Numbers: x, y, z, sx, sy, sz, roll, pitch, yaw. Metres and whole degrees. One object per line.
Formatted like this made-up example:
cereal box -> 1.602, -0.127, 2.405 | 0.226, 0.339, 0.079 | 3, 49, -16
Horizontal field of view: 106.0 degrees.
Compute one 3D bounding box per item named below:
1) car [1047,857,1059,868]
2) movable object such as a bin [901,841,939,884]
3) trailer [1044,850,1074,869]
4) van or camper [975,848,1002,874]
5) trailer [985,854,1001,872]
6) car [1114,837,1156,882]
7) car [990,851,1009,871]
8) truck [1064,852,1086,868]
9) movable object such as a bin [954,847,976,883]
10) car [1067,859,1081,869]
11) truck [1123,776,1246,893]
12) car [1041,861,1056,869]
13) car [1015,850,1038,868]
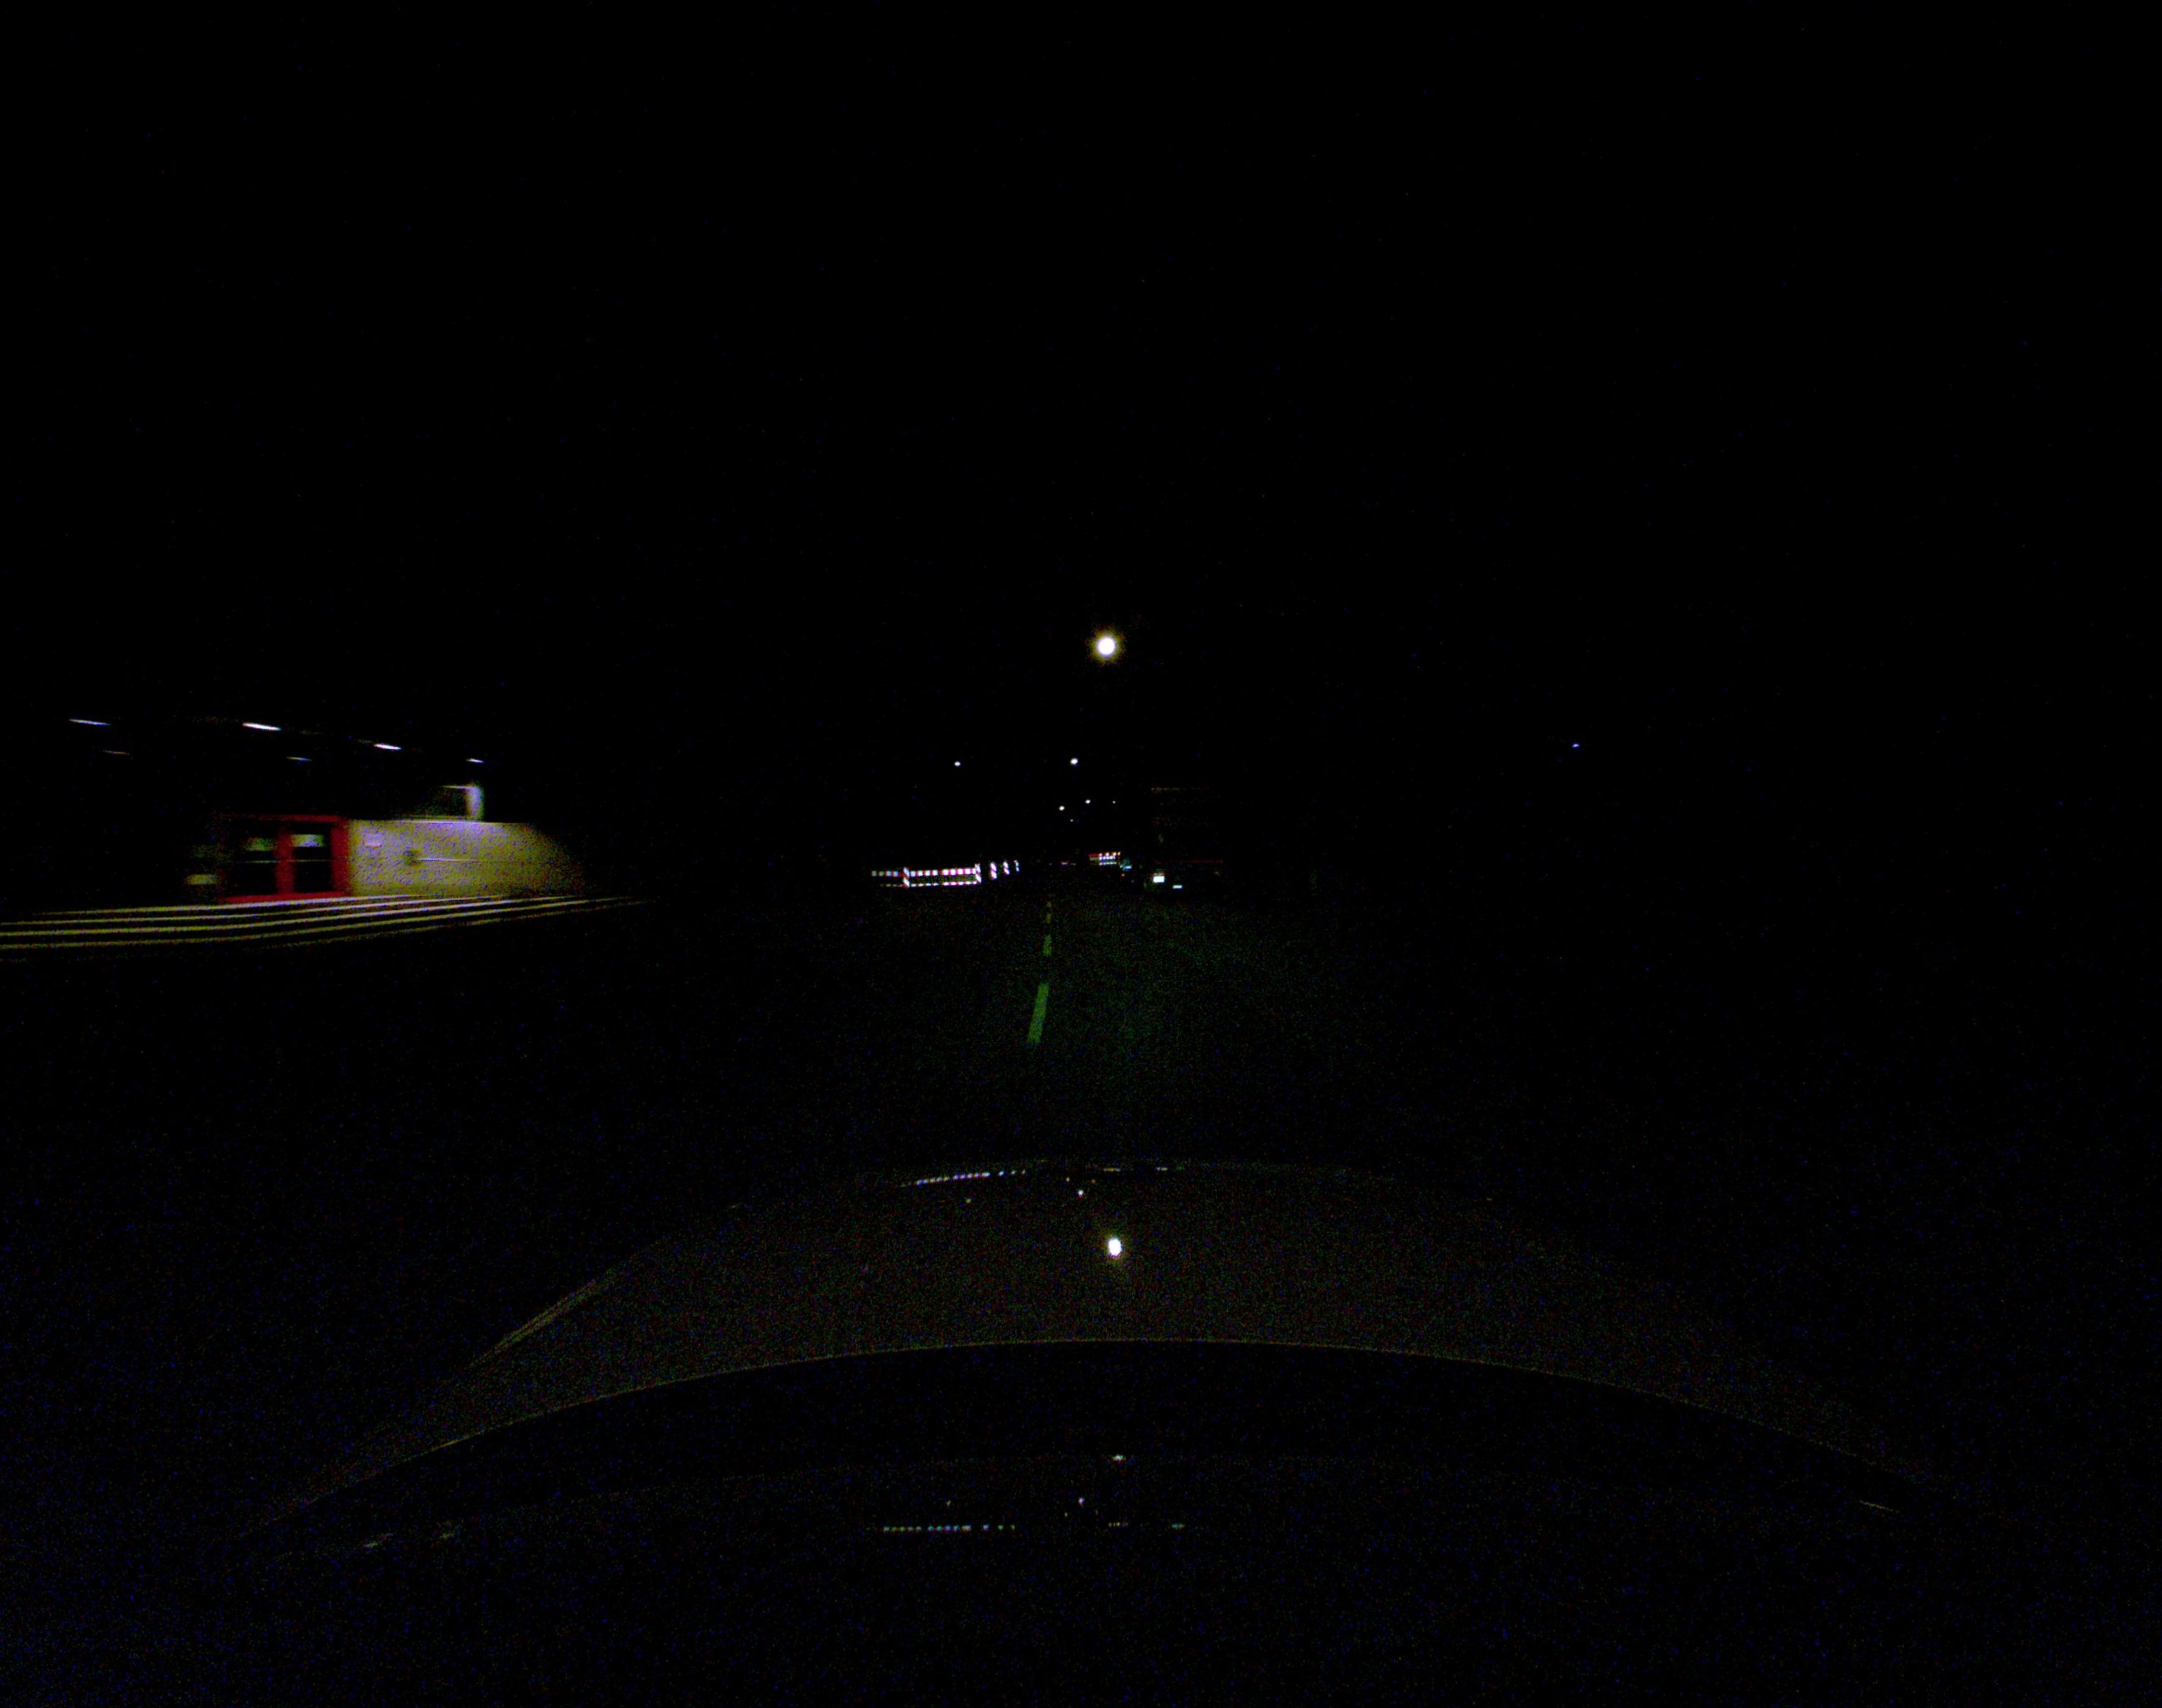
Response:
car -> -4.206, 1.287, 124.448 | 1.716, 1.661, 3.997 | -2, -1, -1
movable object such as a bin -> -9.849, 0.560, 49.706 | 1.555, 2.467, 2.818 | -4, 0, -23
trailer -> -2.999, 0.750, 109.565 | 1.569, 2.160, 5.171 | -4, -1, -29
van or camper -> -11.959, 0.858, 106.310 | 2.512, 3.094, 7.442 | -4, 0, -1
trailer -> -13.118, 1.323, 121.966 | 1.989, 2.527, 3.566 | -5, 2, -2
car -> 3.232, 0.275, 49.827 | 2.101, 2.516, 6.372 | -2, 1, 1
car -> -13.100, 1.072, 131.170 | 2.514, 2.927, 7.192 | -4, 0, -3
truck -> -1.415, 1.409, 195.484 | 1.976, 3.403, 9.028 | -2, 1, 22
movable object such as a bin -> -9.745, 0.888, 68.476 | 1.570, 2.733, 3.690 | -5, 1, -9
car -> -1.244, 1.874, 152.847 | 1.708, 1.821, 4.014 | -2, -1, 13
truck -> 3.774, -0.664, 32.439 | 3.316, 3.868, 9.320 | -2, 0, -2
car -> -7.029, 2.318, 176.652 | 1.980, 1.699, 4.221 | -2, -1, 13
car -> -10.726, 1.010, 160.919 | 2.502, 3.171, 7.161 | -5, 0, 12
